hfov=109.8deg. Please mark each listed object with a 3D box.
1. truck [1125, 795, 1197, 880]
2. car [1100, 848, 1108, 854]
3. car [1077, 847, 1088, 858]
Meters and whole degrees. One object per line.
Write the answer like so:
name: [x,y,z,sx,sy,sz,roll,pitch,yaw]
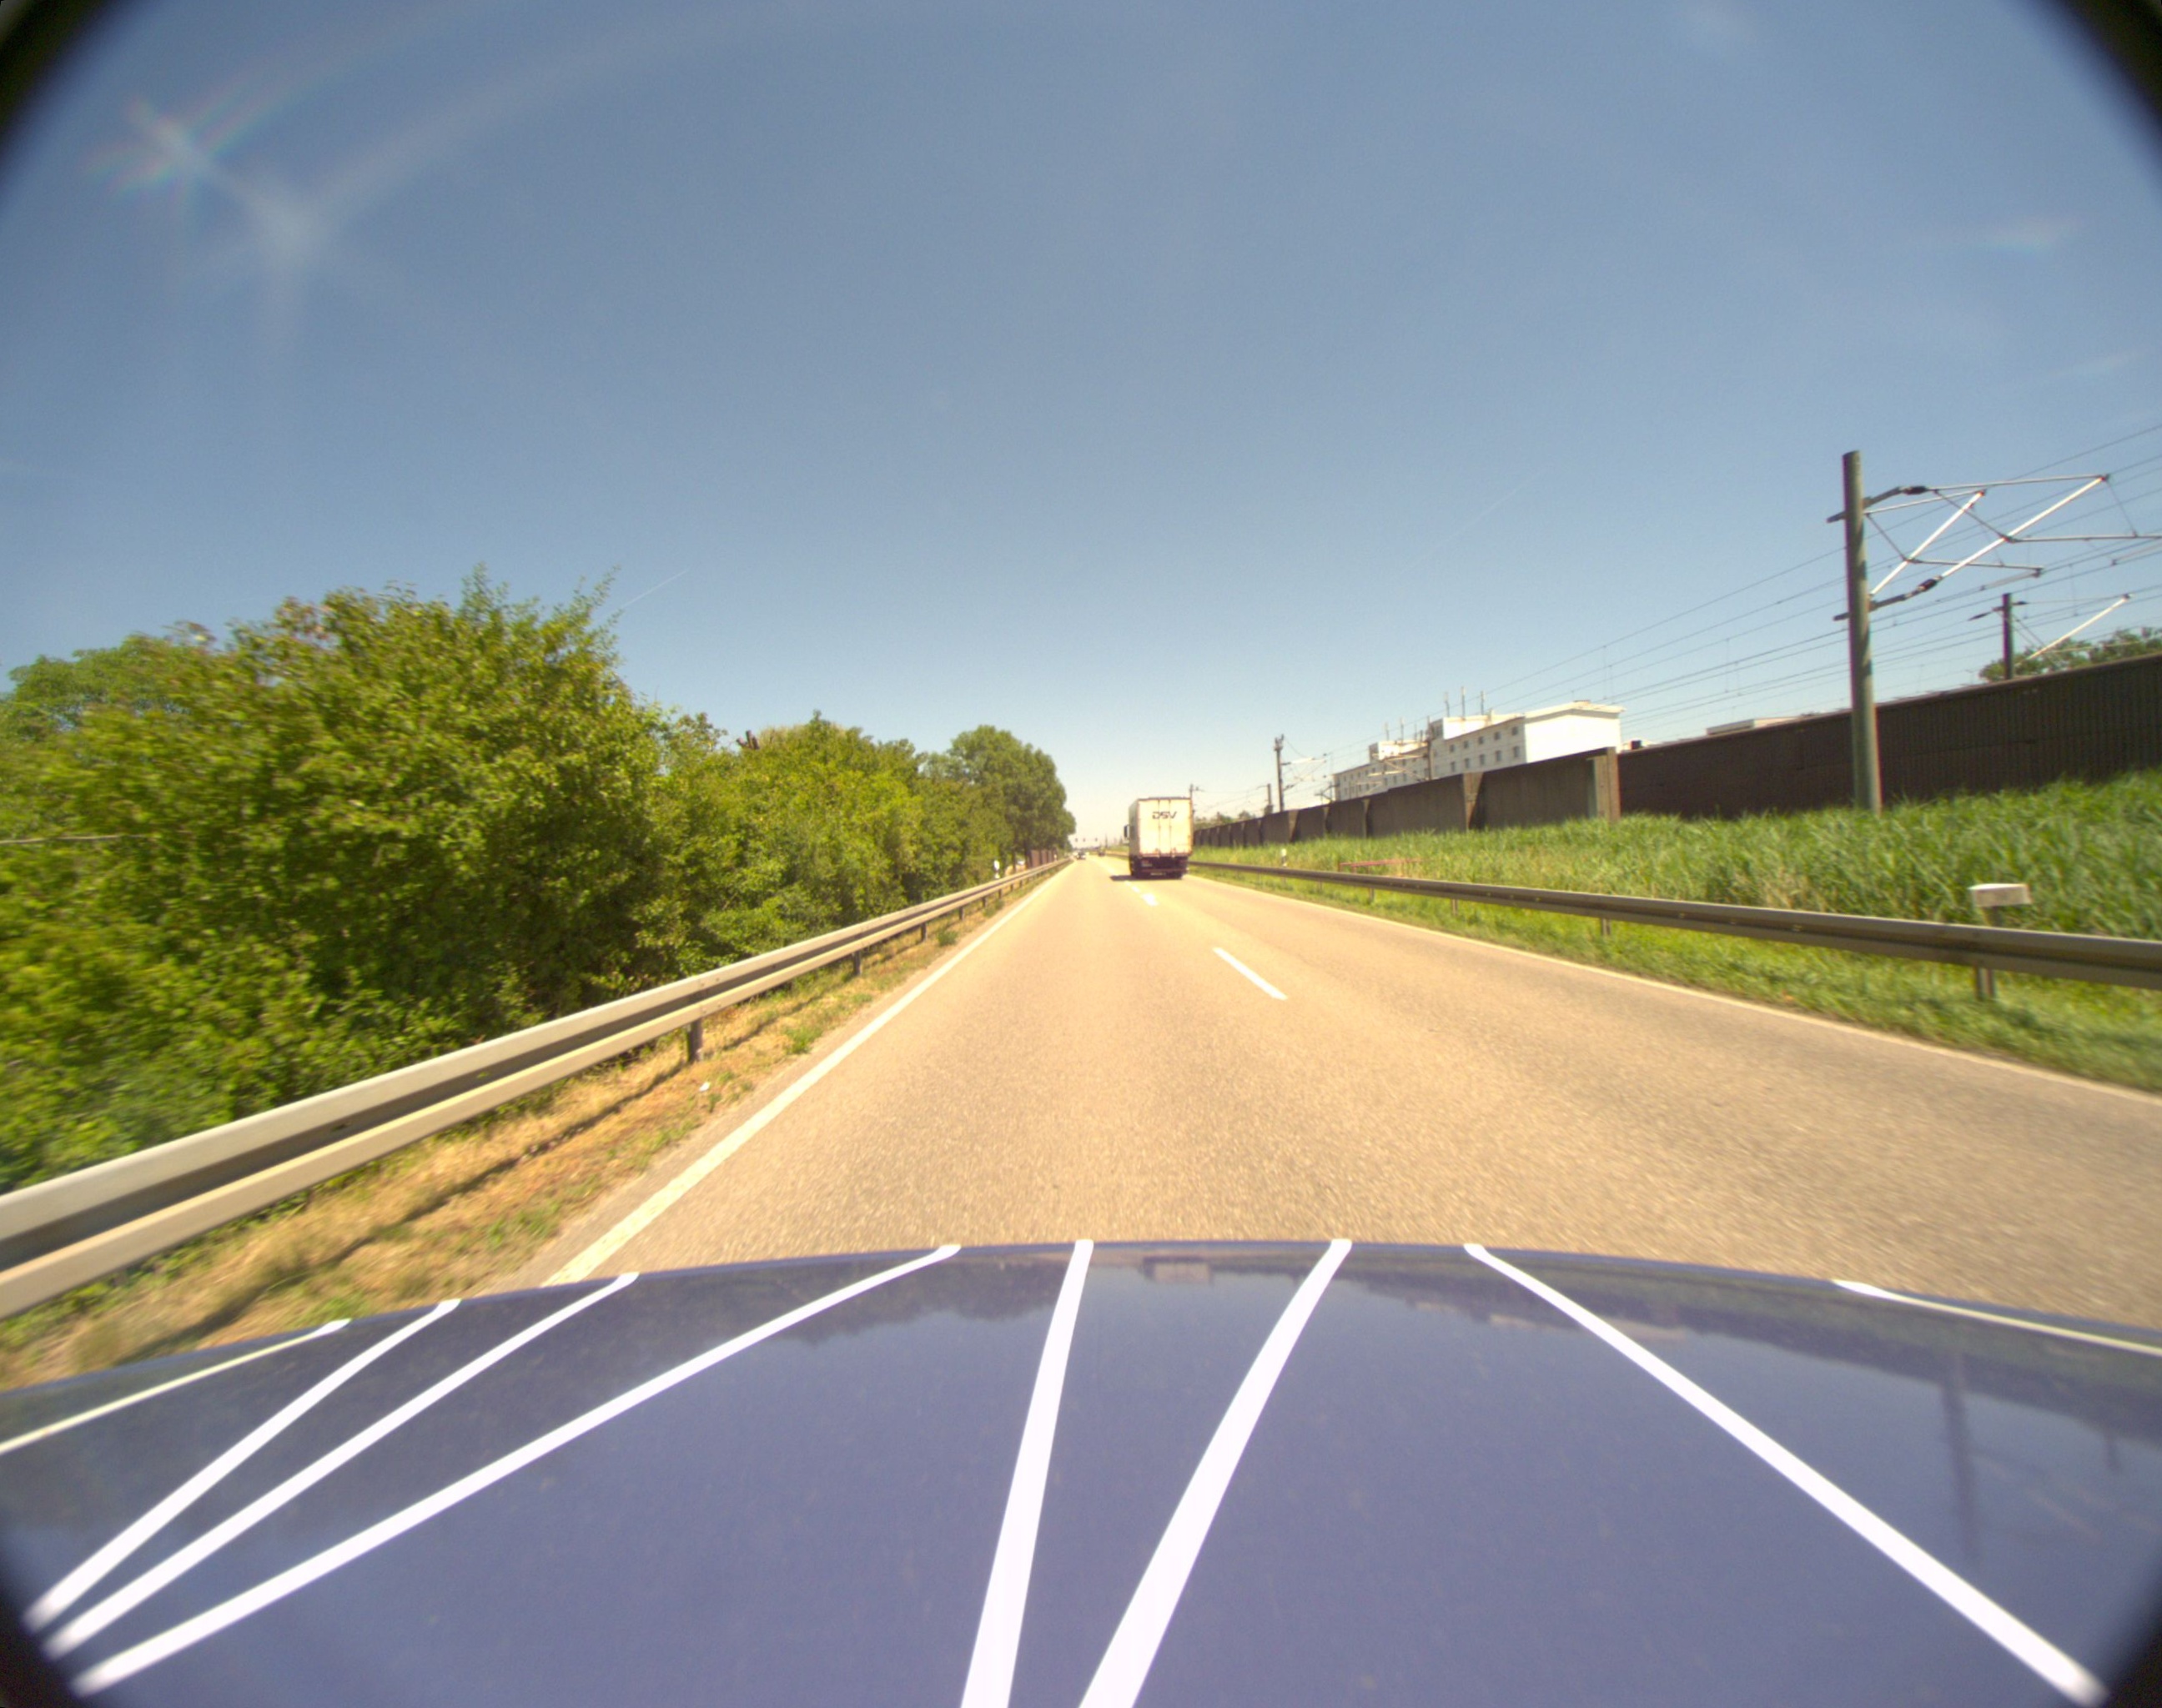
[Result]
truck: [4.138,-0.838,41.530,2.804,3.955,10.498,-3,1,1]
car: [6.765,-0.902,222.636,1.999,1.499,3.999,-2,0,-1]
car: [0.241,-0.329,149.997,1.999,2.002,3.999,-2,0,-1]
